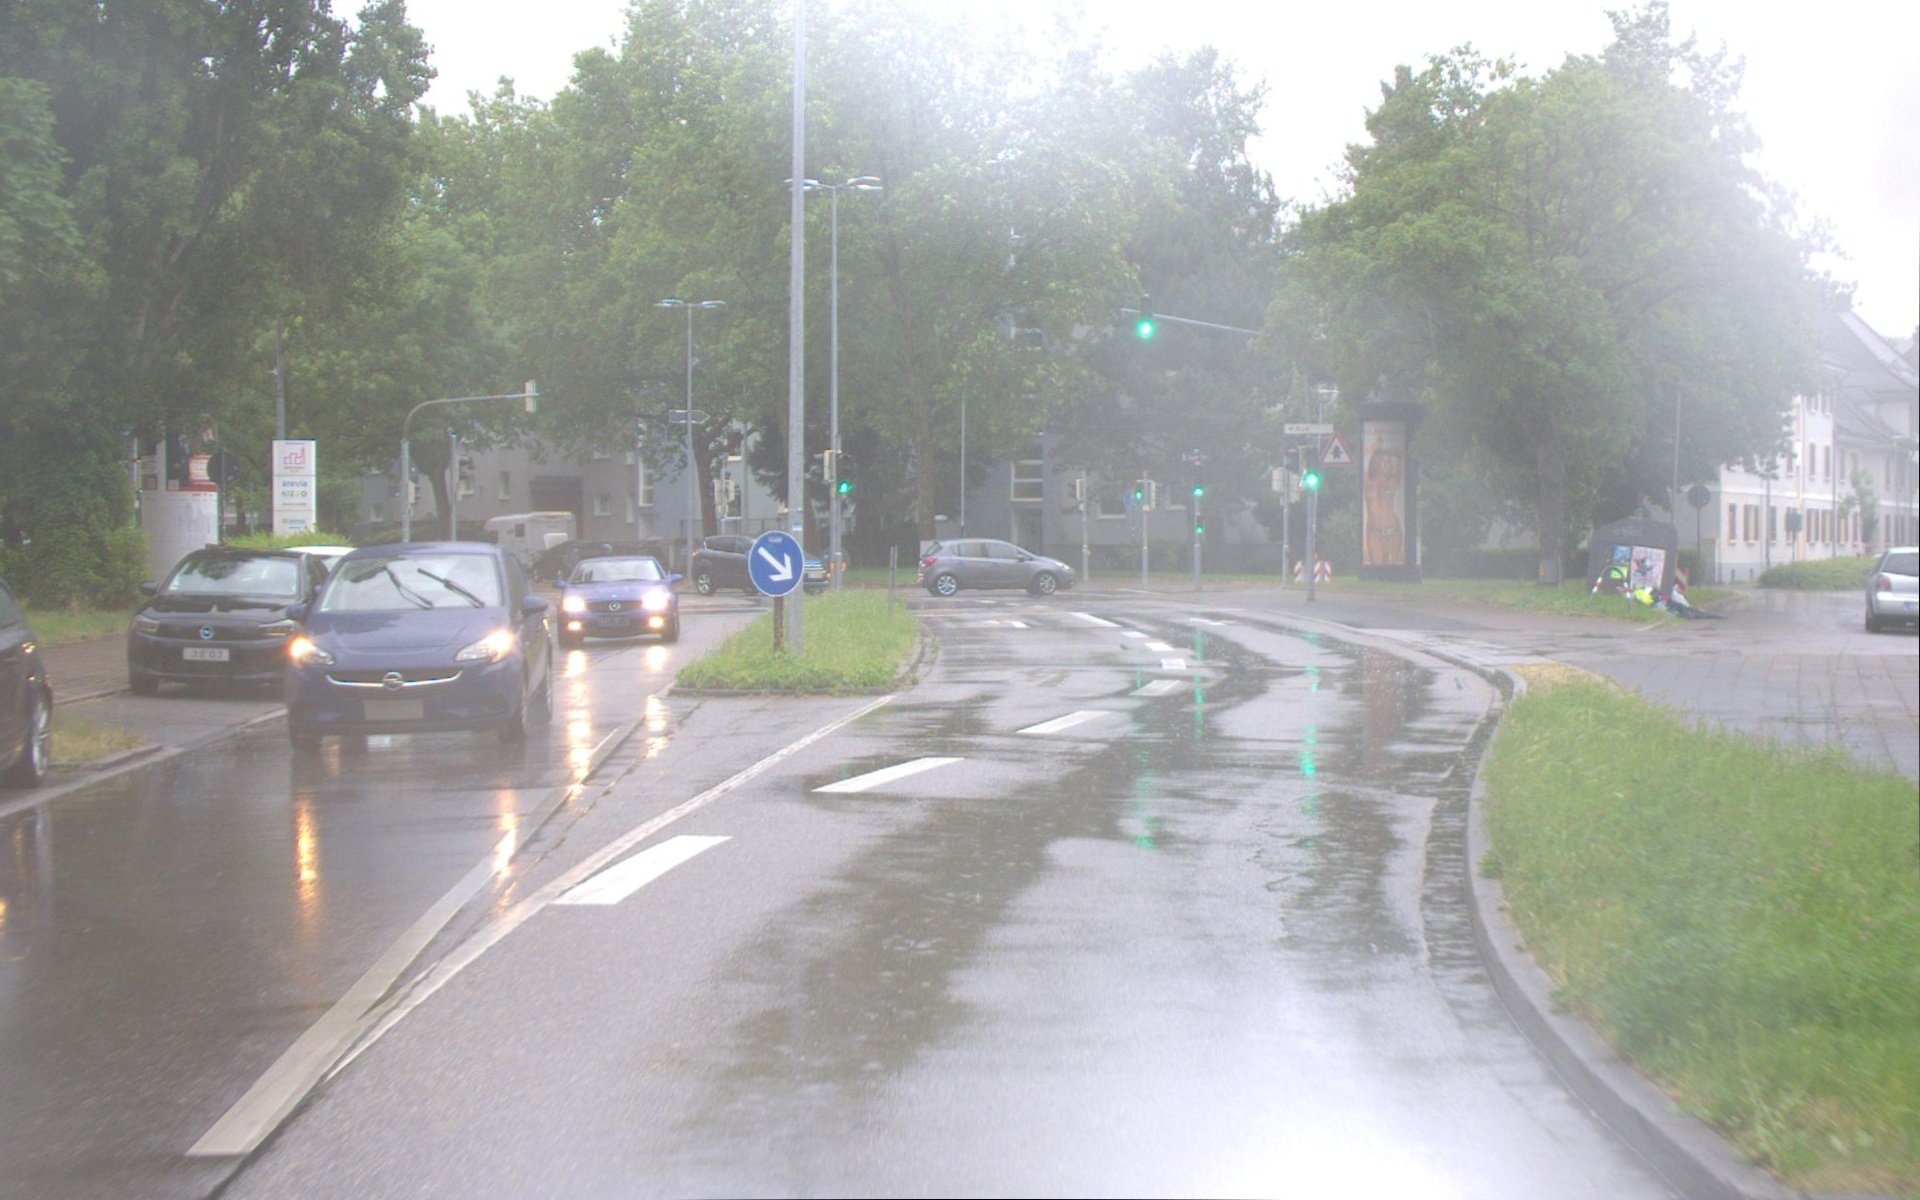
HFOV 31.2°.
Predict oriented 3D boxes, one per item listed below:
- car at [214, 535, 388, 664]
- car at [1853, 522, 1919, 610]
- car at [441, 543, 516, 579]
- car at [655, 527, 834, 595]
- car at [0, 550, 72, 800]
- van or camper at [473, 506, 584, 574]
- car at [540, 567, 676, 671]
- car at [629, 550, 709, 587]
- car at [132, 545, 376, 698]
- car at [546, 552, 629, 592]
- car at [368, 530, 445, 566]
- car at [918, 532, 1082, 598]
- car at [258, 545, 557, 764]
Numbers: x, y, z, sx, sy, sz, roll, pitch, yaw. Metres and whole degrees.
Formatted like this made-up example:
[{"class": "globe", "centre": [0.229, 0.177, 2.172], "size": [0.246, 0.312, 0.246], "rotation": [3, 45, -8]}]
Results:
[{"class": "car", "centre": [-7.911, -0.026, 41.553], "size": [1.602, 1.469, 4.123], "rotation": [1, 1, -4]}, {"class": "car", "centre": [16.144, -0.572, 58.528], "size": [1.635, 1.428, 4.174], "rotation": [1, 1, 12]}, {"class": "car", "centre": [-19.750, -1.602, 141.000], "size": [1.706, 1.406, 3.645], "rotation": [-3, 2, -31]}, {"class": "car", "centre": [-5.730, -1.033, 91.472], "size": [4.294, 1.738, 1.998], "rotation": [1, 1, 18]}, {"class": "car", "centre": [-6.363, 0.421, 19.488], "size": [1.695, 1.440, 4.098], "rotation": [1, 1, -2]}, {"class": "van or camper", "centre": [-18.386, -2.519, 146.180], "size": [2.318, 2.798, 6.864], "rotation": [0, 0, -29]}, {"class": "car", "centre": [-5.129, 0.253, 50.535], "size": [1.727, 1.388, 3.951], "rotation": [-3, 1, -3]}, {"class": "car", "centre": [-11.227, -1.223, 132.530], "size": [1.548, 1.385, 4.150], "rotation": [0, 1, -28]}, {"class": "car", "centre": [-6.986, 0.176, 34.369], "size": [1.726, 1.378, 4.180], "rotation": [2, 1, -3]}, {"class": "car", "centre": [-13.928, -1.051, 128.430], "size": [1.706, 1.406, 3.645], "rotation": [-3, 2, -31]}, {"class": "car", "centre": [-25.357, -2.393, 157.438], "size": [1.915, 1.614, 4.370], "rotation": [0, 1, -32]}, {"class": "car", "centre": [1.018, -0.892, 87.127], "size": [4.075, 1.597, 2.000], "rotation": [1, 1, 1]}, {"class": "car", "centre": [-4.051, 0.354, 25.757], "size": [1.706, 1.496, 3.946], "rotation": [-1, 1, -2]}]
